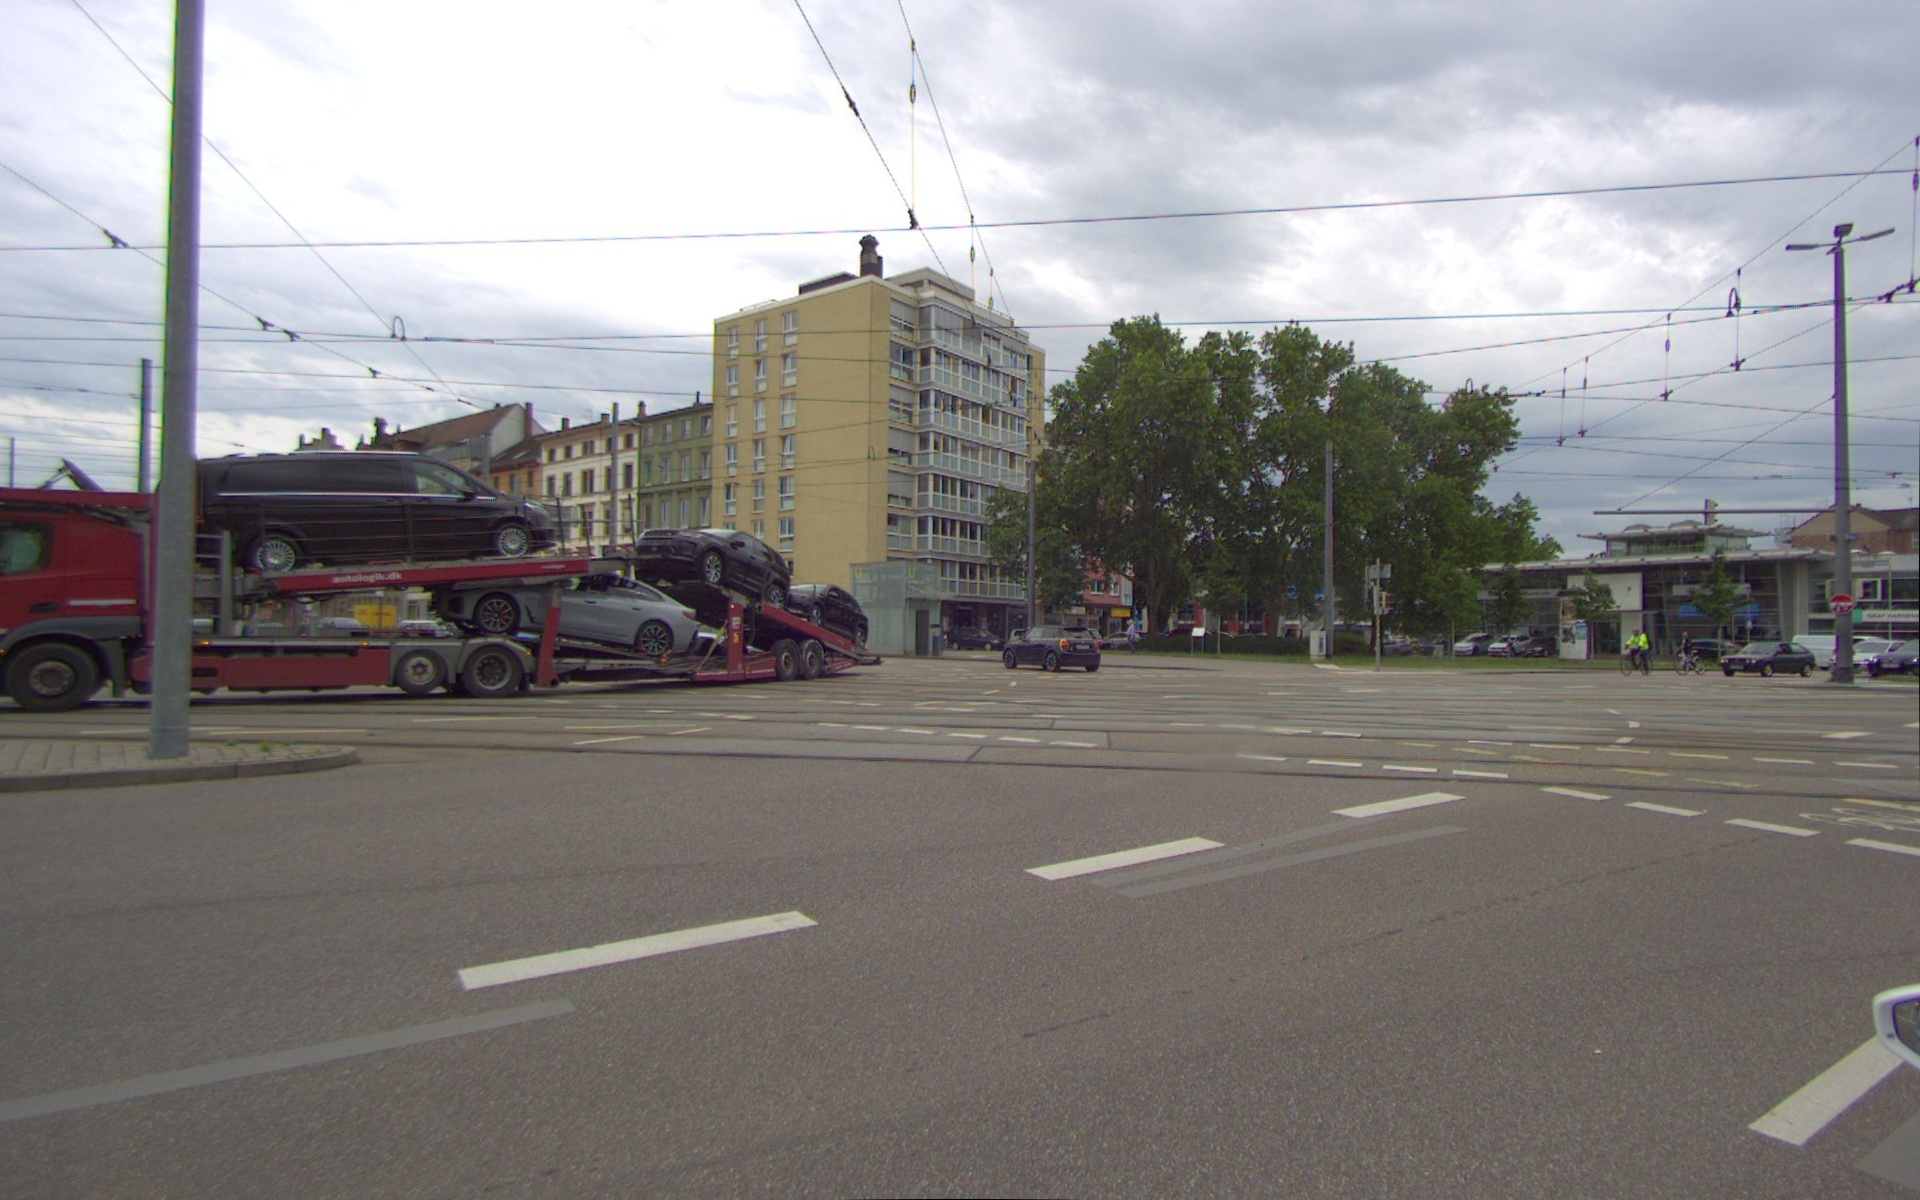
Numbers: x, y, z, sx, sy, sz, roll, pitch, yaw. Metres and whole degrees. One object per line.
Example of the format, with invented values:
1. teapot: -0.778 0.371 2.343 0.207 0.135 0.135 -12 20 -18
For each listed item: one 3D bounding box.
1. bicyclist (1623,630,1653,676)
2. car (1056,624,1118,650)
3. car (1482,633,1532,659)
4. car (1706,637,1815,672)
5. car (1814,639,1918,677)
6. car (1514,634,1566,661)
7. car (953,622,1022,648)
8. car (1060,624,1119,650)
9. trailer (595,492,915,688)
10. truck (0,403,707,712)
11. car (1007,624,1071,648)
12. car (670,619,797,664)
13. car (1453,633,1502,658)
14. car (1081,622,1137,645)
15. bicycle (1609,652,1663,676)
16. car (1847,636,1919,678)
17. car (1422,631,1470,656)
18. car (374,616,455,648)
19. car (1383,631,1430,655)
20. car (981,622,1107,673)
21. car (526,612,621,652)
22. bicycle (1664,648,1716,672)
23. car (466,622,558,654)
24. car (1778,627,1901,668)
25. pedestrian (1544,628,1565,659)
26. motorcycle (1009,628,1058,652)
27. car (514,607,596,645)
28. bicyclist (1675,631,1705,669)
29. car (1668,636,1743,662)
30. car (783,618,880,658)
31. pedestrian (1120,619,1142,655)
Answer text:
1. bicyclist: 27.004 2.097 40.000 0.784 1.827 0.627 1 -1 -16
2. car: 9.198 2.637 72.779 3.932 1.728 1.995 1 -1 33
3. car: 45.483 3.833 83.520 3.956 2.040 1.983 2 -1 -32
4. car: 31.106 2.107 39.036 3.682 1.263 1.684 1 -2 -21
5. car: 36.361 2.328 40.325 3.682 1.439 1.633 1 -1 -21
6. car: 46.774 3.833 80.987 3.956 2.040 1.983 2 -1 -32
7. car: 1.723 2.205 63.365 3.933 1.572 1.994 0 -2 34
8. car: 9.757 2.773 75.552 3.932 1.728 1.995 1 -1 33
9. trailer: -4.606 -0.117 25.538 2.939 4.025 9.549 1 -1 23
10. truck: -9.764 -0.409 16.792 10.362 3.972 2.983 2 -1 -38
11. car: 5.468 2.487 69.772 3.933 1.572 1.994 0 -2 34
12. car: -8.214 1.467 36.281 4.604 1.513 1.993 0 -2 37
13. car: 44.090 3.854 85.605 3.956 2.040 1.983 2 -1 -32
14. car: 11.870 2.657 80.041 3.932 1.728 1.995 1 -1 33
15. bicycle: 26.951 2.541 40.042 2.186 0.942 0.518 1 -1 -16
16. car: 35.096 2.084 36.824 4.592 1.439 1.991 1 -2 -21
17. car: 42.394 3.830 87.660 3.956 2.040 1.983 2 -1 -32
18. car: -27.391 1.597 50.422 3.933 1.550 1.994 0 -2 34
19. car: 40.428 3.891 90.967 3.956 2.040 1.983 2 -1 -32
20. car: 2.616 1.476 32.060 1.760 1.488 3.955 2 -2 -39
21. car: -16.065 1.317 41.722 3.560 1.513 1.995 0 -1 34
22. bicycle: 29.749 2.453 40.929 2.186 0.938 0.518 1 -1 -16
23. car: -20.073 1.695 45.003 3.933 1.327 1.994 0 -2 35
24. car: 48.897 2.618 55.972 2.089 2.040 4.760 2 -1 -20
25. pedestrian: 37.167 2.713 62.811 0.846 1.925 0.709 2 -1 -7
26. motorcycle: 3.894 2.121 53.406 2.507 1.194 0.861 1 -1 38
27. car: -20.321 1.311 50.356 3.934 1.751 1.994 1 -1 35
28. bicyclist: 29.755 2.024 40.930 0.842 1.528 0.566 0 -1 -16
29. car: 42.793 2.820 57.676 3.678 1.439 1.634 1 -1 -18
30. car: -5.468 1.567 42.577 3.937 1.514 1.816 1 -1 38
31. pedestrian: 8.496 1.806 49.831 0.898 1.742 0.706 1 -1 25
